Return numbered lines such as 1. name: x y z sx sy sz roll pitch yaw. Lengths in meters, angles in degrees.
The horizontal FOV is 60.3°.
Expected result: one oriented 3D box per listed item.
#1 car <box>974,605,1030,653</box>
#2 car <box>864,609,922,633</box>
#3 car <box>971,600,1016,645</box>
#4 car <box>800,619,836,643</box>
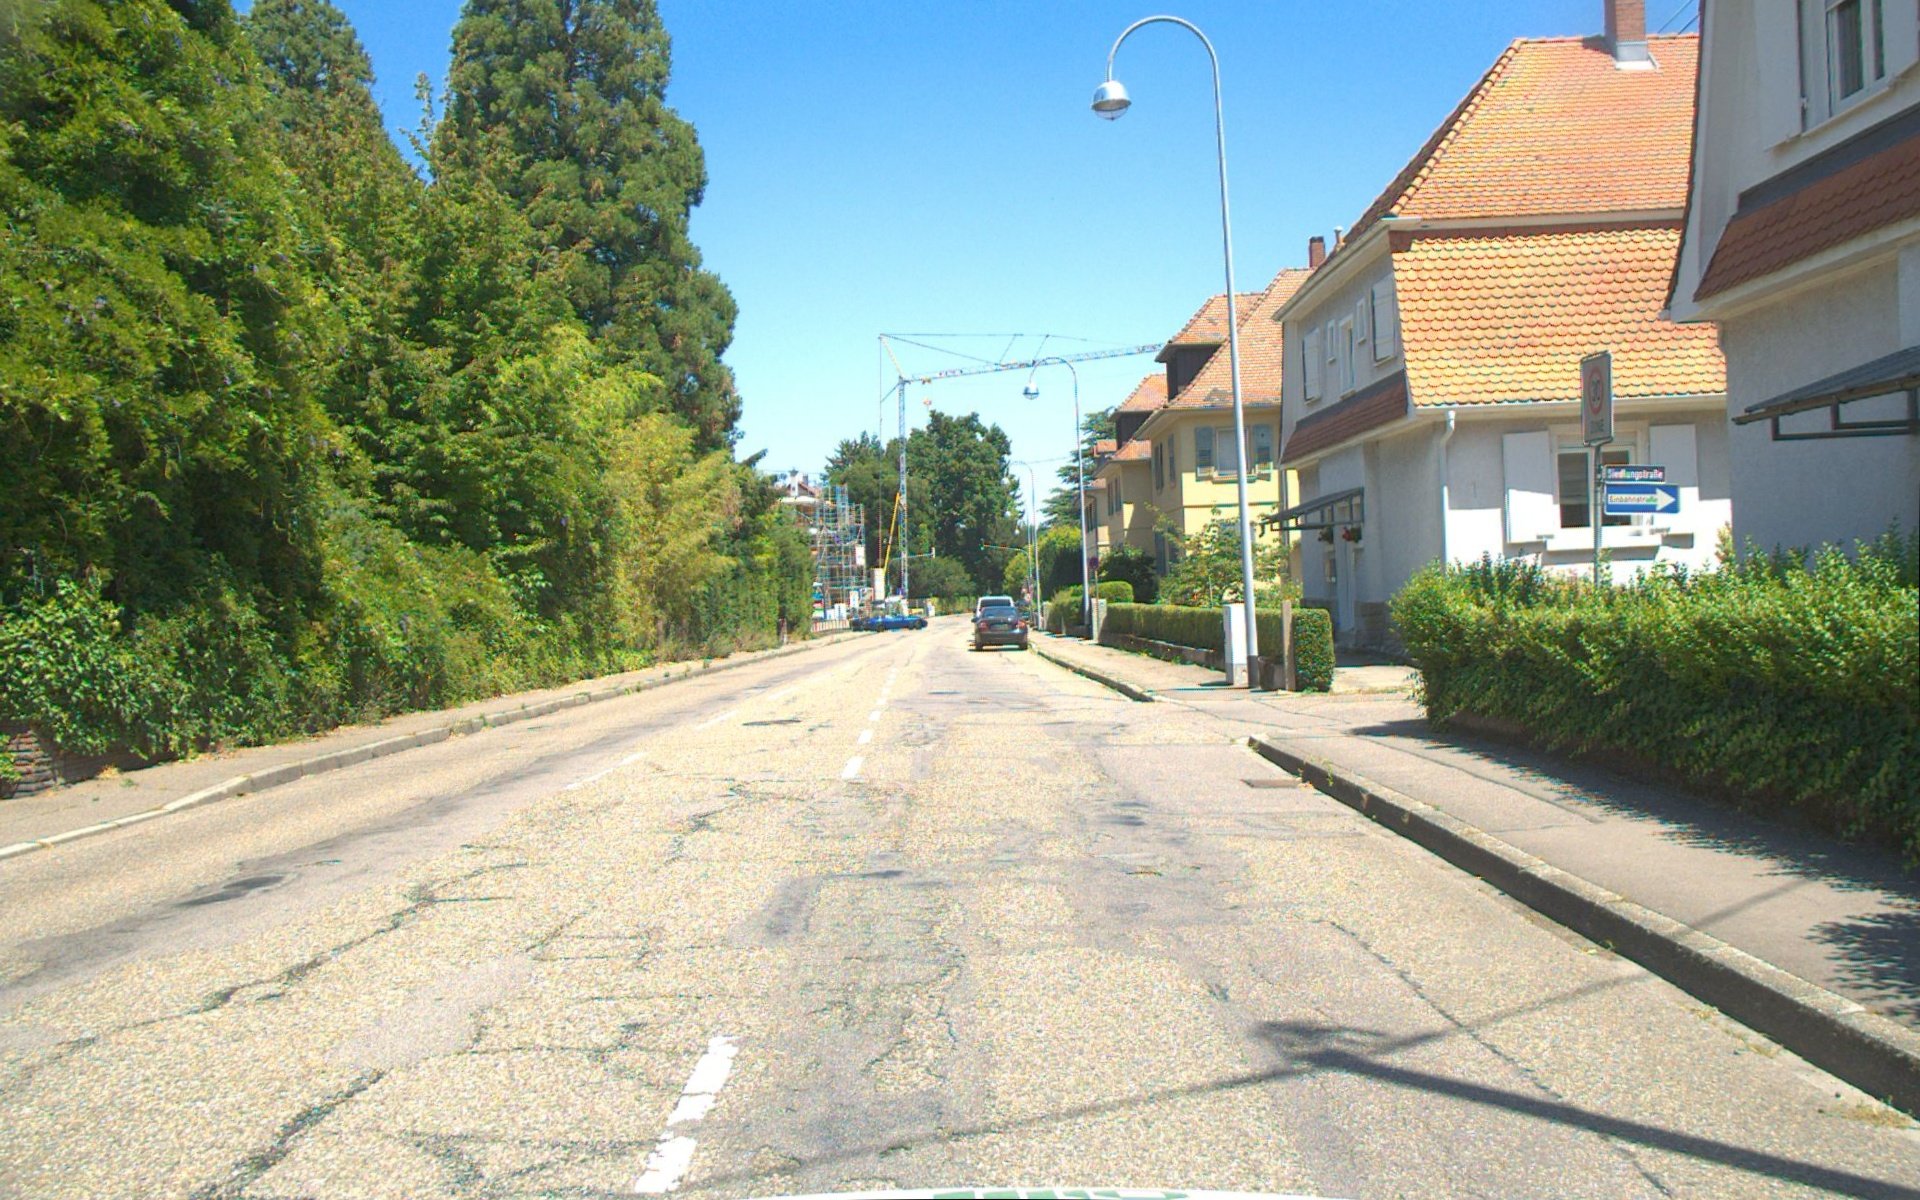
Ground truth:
1. car: 1.340 0.947 54.192 1.658 1.443 4.550 -2 -1 0
2. car: -4.885 1.504 120.084 3.917 1.494 1.959 -3 1 -12
3. car: 1.464 0.999 74.011 1.953 1.934 4.822 0 -1 0
4. car: -9.185 1.992 107.338 1.625 1.413 3.537 -3 -1 6
